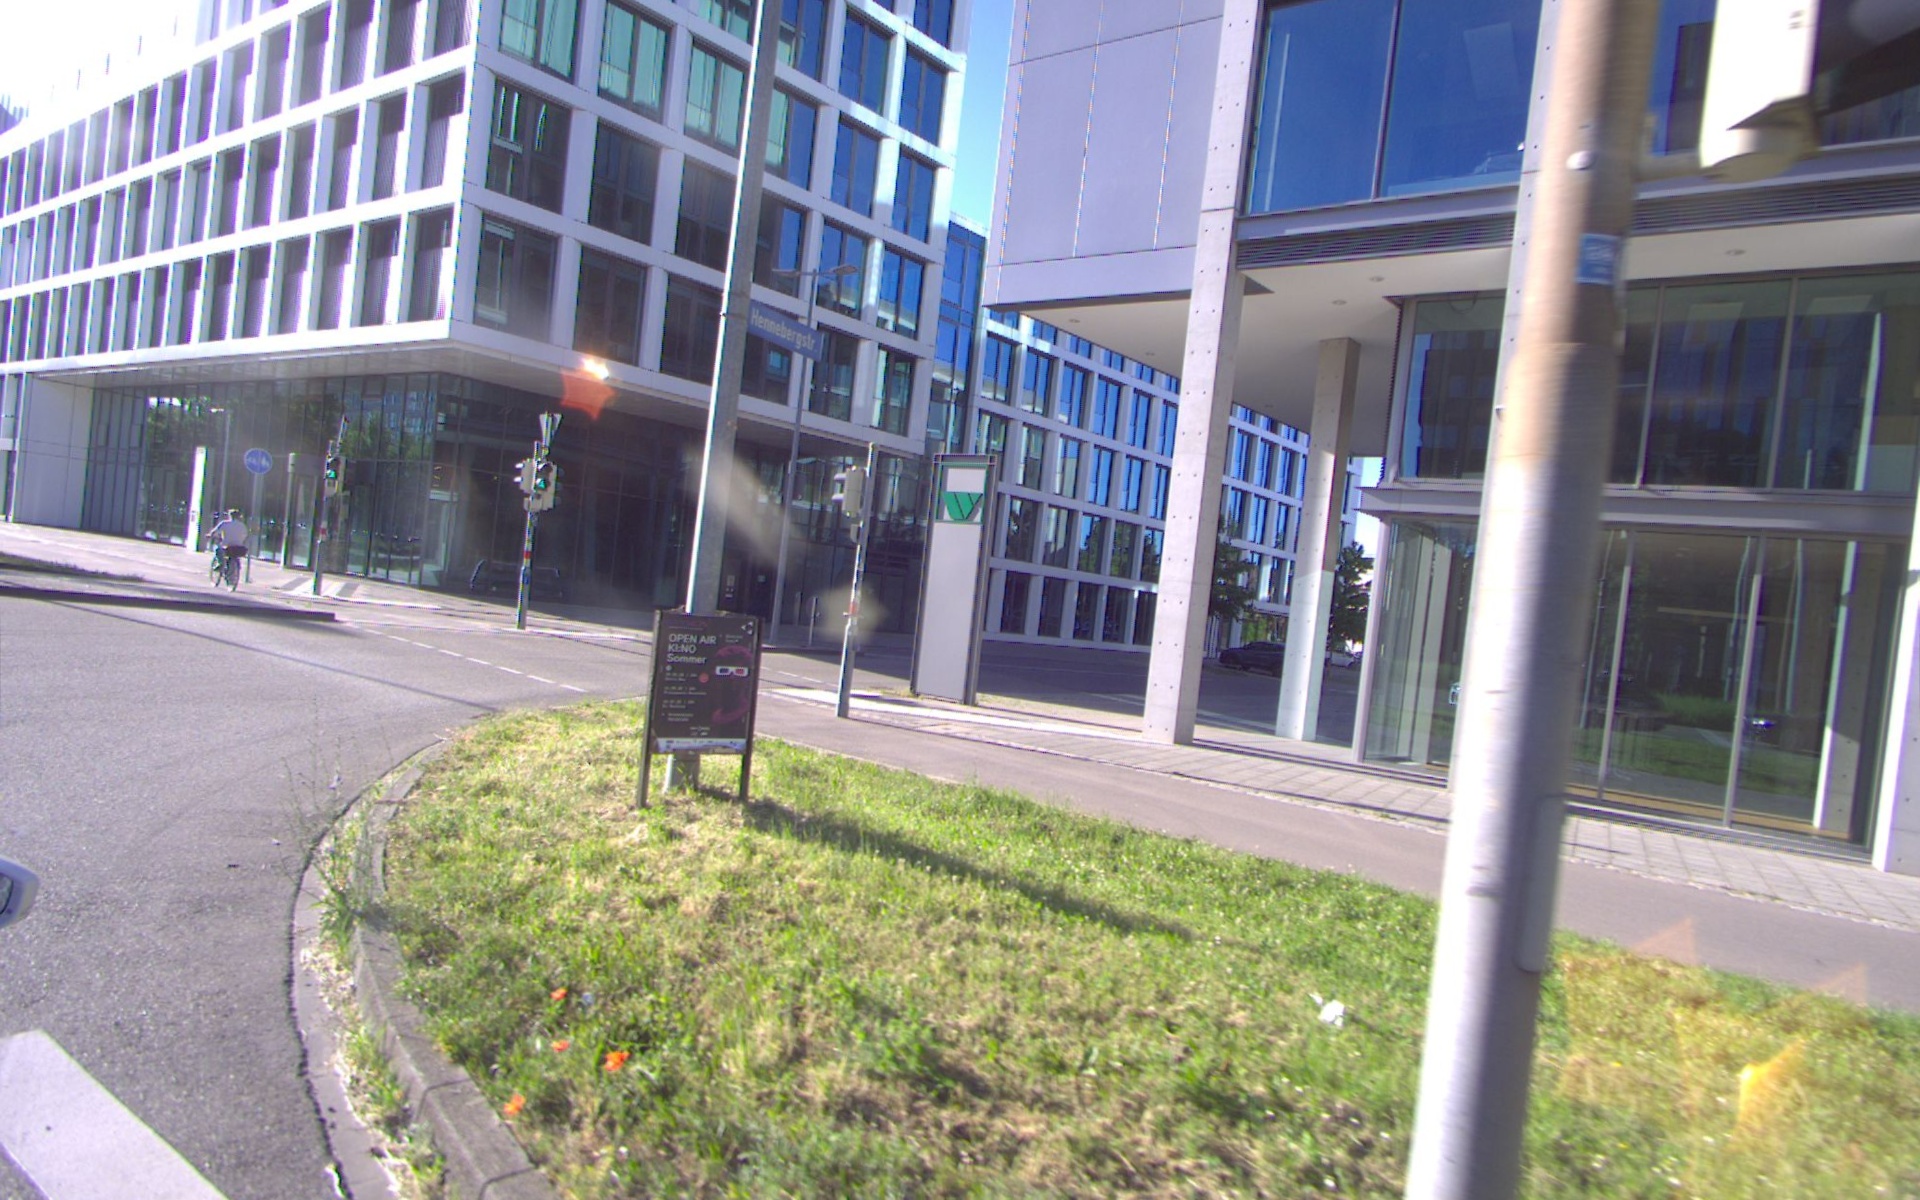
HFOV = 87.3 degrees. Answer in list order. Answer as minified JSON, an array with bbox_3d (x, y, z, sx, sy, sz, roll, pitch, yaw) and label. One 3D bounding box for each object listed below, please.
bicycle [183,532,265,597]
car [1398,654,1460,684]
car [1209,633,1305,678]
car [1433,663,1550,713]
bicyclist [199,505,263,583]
[{"bbox_3d":[-15.948,-0.781,21.797,1.929,1.189,0.742,7,1,34],"label":"bicycle"},{"bbox_3d":[37.992,5.572,81.551,1.856,1.816,4.079,6,0,-43],"label":"car"},{"bbox_3d":[15.078,2.800,51.192,4.234,1.735,1.652,7,1,40],"label":"car"},{"bbox_3d":[22.498,3.727,42.646,1.650,1.523,3.950,6,0,-44],"label":"car"},{"bbox_3d":[-15.695,-1.191,21.652,0.836,1.551,0.771,7,2,33],"label":"bicyclist"}]
